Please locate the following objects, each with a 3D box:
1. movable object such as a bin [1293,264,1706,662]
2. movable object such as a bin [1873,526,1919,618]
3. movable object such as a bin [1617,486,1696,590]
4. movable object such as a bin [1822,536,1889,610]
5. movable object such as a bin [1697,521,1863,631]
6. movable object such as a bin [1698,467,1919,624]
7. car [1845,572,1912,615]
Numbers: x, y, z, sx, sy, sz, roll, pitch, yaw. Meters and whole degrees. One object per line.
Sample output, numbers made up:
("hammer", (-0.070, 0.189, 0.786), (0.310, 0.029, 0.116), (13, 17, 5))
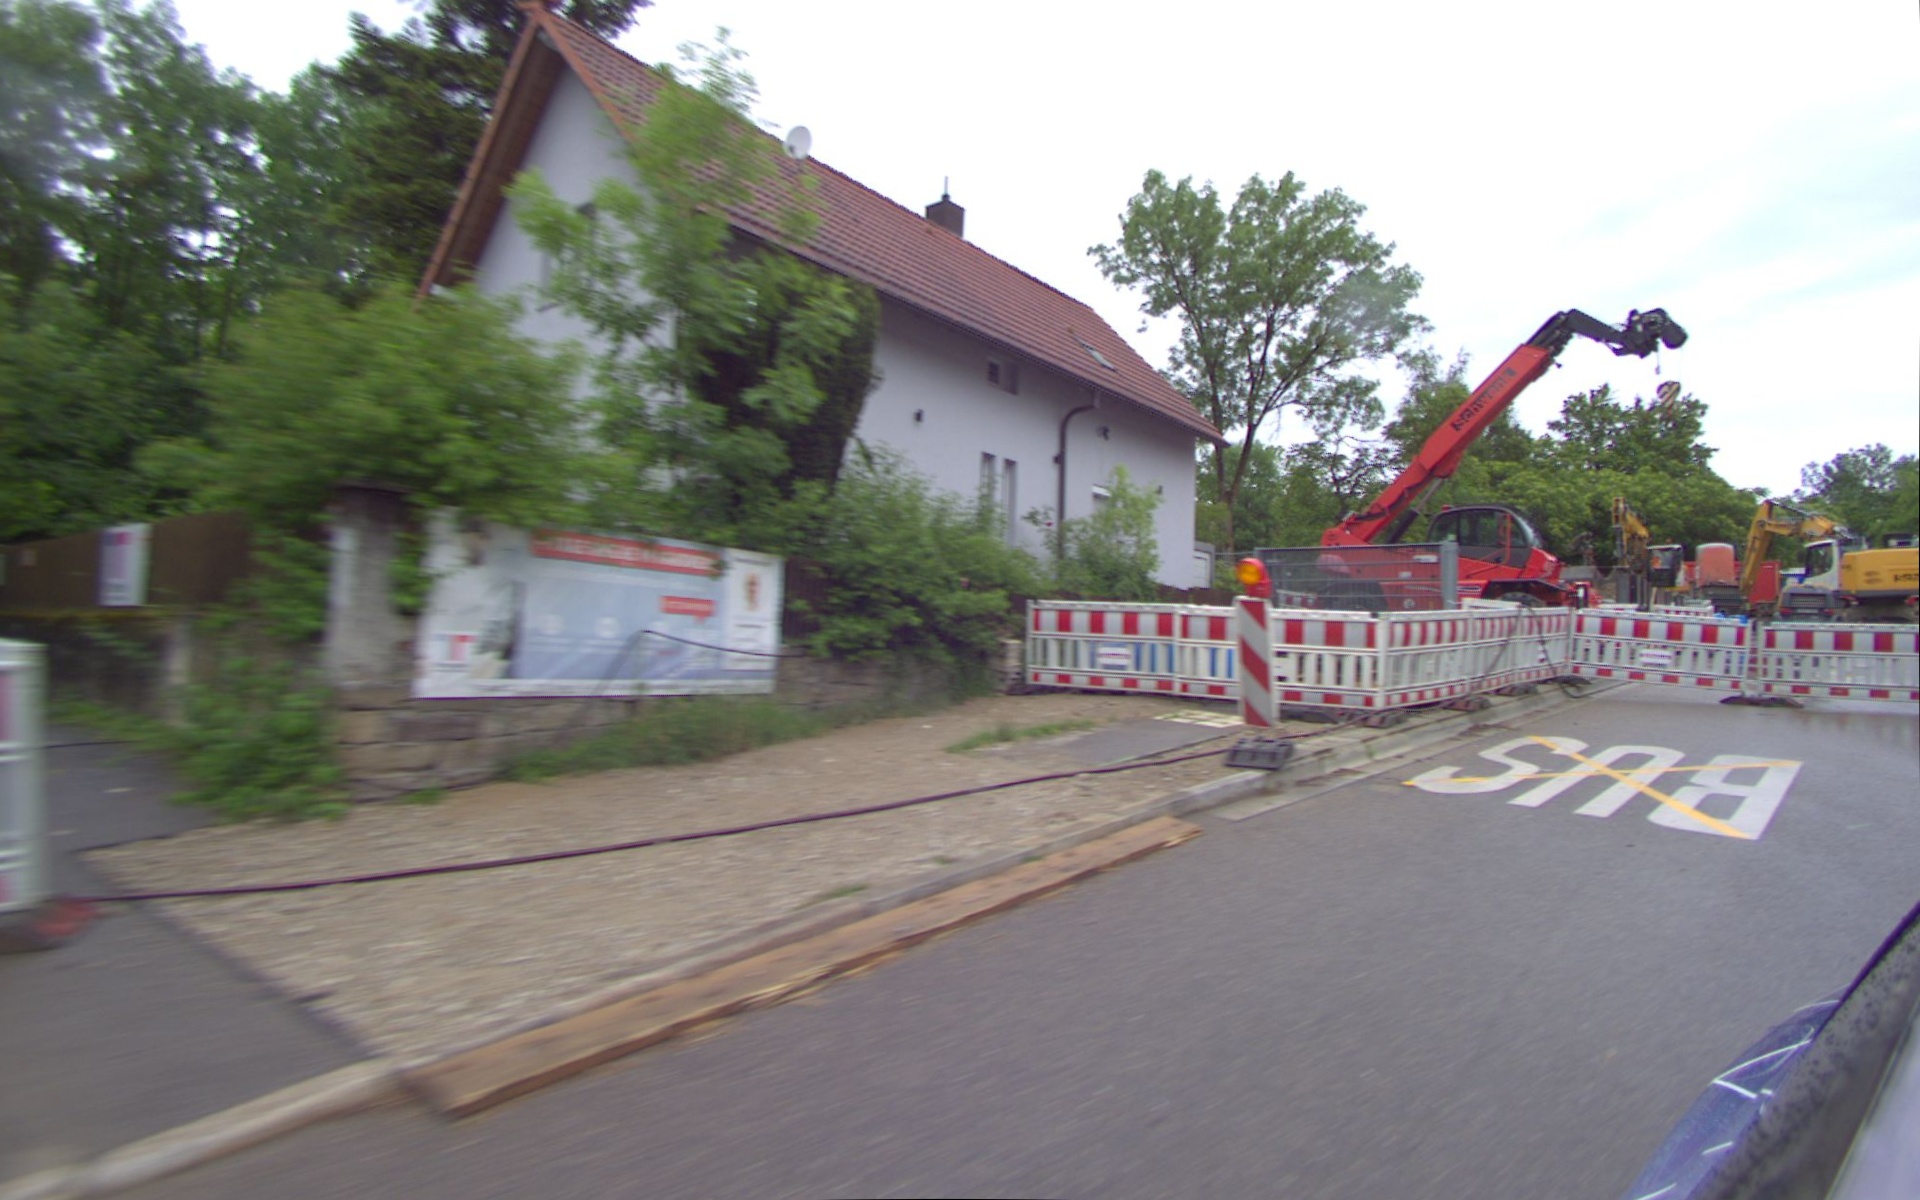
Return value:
("movable object such as a bin", (10.805, -2.367, 20.700), (6.943, 6.773, 3.000), (0, 1, 42))
("movable object such as a bin", (36.308, -1.132, 38.680), (1.991, 3.345, 3.781), (0, 3, 41))
("movable object such as a bin", (28.201, -2.412, 40.928), (1.992, 3.938, 4.547), (-1, 0, 42))
("movable object such as a bin", (46.761, -1.321, 52.960), (2.070, 3.270, 5.211), (-1, -6, 36))
("movable object such as a bin", (26.683, -0.696, 33.150), (3.974, 3.247, 2.375), (-1, -6, 36))
("movable object such as a bin", (32.074, -2.045, 37.355), (3.016, 4.977, 10.800), (-2, 3, 8))
("car", (40.572, -0.311, 44.660), (1.994, 1.802, 4.917), (-1, 0, 45))
